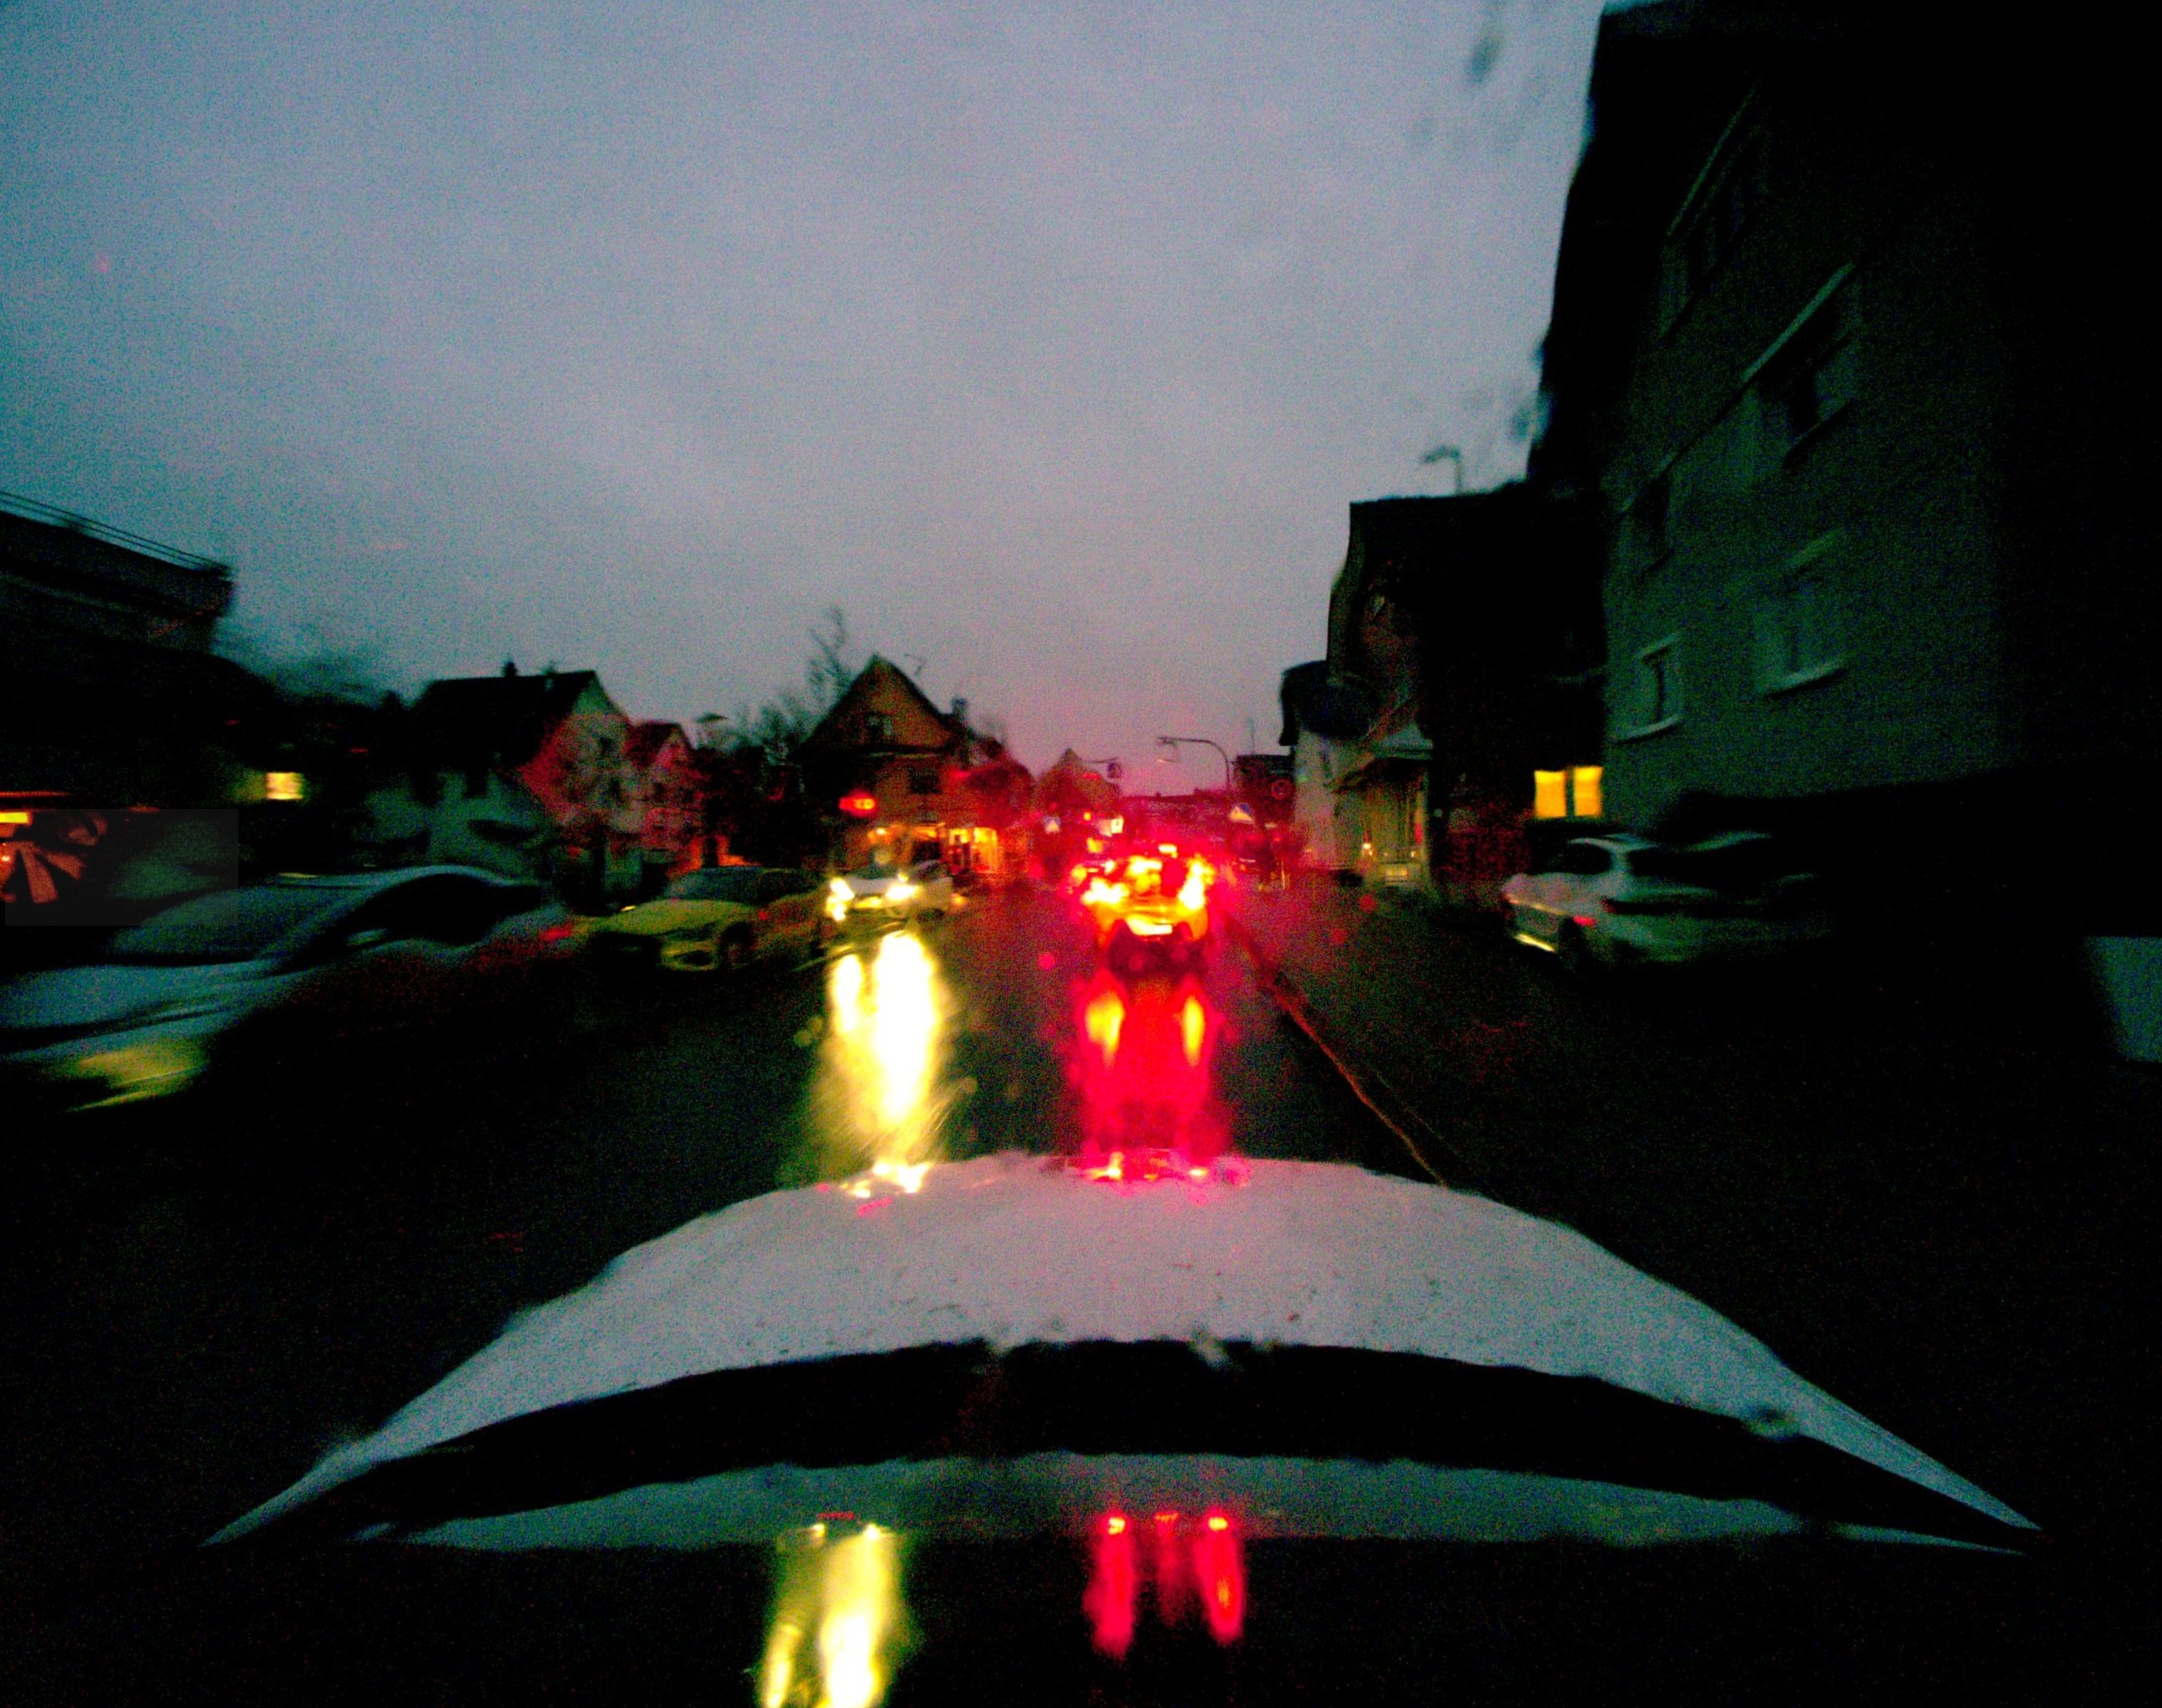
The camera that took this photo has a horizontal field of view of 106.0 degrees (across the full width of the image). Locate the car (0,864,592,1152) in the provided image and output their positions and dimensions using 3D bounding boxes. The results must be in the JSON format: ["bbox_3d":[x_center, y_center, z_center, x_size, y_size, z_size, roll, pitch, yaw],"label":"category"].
[{"bbox_3d":[-5.905,0.871,6.380,1.685,1.516,3.777,0,0,4],"label":"car"}]

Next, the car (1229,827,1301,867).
[{"bbox_3d":[9.772,-0.351,43.524,3.674,2.014,1.694,-1,-1,10],"label":"car"}]

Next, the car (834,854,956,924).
[{"bbox_3d":[-4.410,0.771,19.929,1.661,1.516,4.008,0,0,7],"label":"car"}]

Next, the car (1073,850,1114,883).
[{"bbox_3d":[0.833,0.775,52.168,1.982,2.013,4.372,-1,0,9],"label":"car"}]

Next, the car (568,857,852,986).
[{"bbox_3d":[-5.105,0.810,12.001,1.739,1.516,4.351,0,0,8],"label":"car"}]

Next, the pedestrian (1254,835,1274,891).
[{"bbox_3d":[6.313,0.309,28.092,0.658,1.888,0.827,-1,-1,13],"label":"pedestrian"}]

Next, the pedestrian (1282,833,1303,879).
[{"bbox_3d":[8.716,0.090,33.514,0.701,1.876,0.617,0,1,-1],"label":"pedestrian"}]

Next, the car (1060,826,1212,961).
[{"bbox_3d":[1.102,0.511,13.374,1.981,1.795,4.661,-2,1,10],"label":"car"}]

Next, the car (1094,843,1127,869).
[{"bbox_3d":[2.207,0.153,59.364,1.983,1.752,4.369,-1,0,7],"label":"car"}]

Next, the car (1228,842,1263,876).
[{"bbox_3d":[10.557,0.274,52.515,1.634,2.013,4.005,-3,0,4],"label":"car"}]

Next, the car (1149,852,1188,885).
[{"bbox_3d":[4.695,0.714,43.279,1.816,1.601,4.593,-1,0,9],"label":"car"}]

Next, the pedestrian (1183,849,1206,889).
[{"bbox_3d":[5.041,0.649,36.236,0.967,1.742,0.964,0,1,10],"label":"pedestrian"}]

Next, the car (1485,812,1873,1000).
[{"bbox_3d":[5.903,0.407,8.829,1.869,1.466,4.562,-3,0,16],"label":"car"}]

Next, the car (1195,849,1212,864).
[{"bbox_3d":[12.741,0.235,84.535,1.526,1.245,3.655,-6,1,7],"label":"car"}]

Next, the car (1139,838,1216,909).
[{"bbox_3d":[2.578,0.474,21.386,1.787,1.662,4.009,-1,0,8],"label":"car"}]
